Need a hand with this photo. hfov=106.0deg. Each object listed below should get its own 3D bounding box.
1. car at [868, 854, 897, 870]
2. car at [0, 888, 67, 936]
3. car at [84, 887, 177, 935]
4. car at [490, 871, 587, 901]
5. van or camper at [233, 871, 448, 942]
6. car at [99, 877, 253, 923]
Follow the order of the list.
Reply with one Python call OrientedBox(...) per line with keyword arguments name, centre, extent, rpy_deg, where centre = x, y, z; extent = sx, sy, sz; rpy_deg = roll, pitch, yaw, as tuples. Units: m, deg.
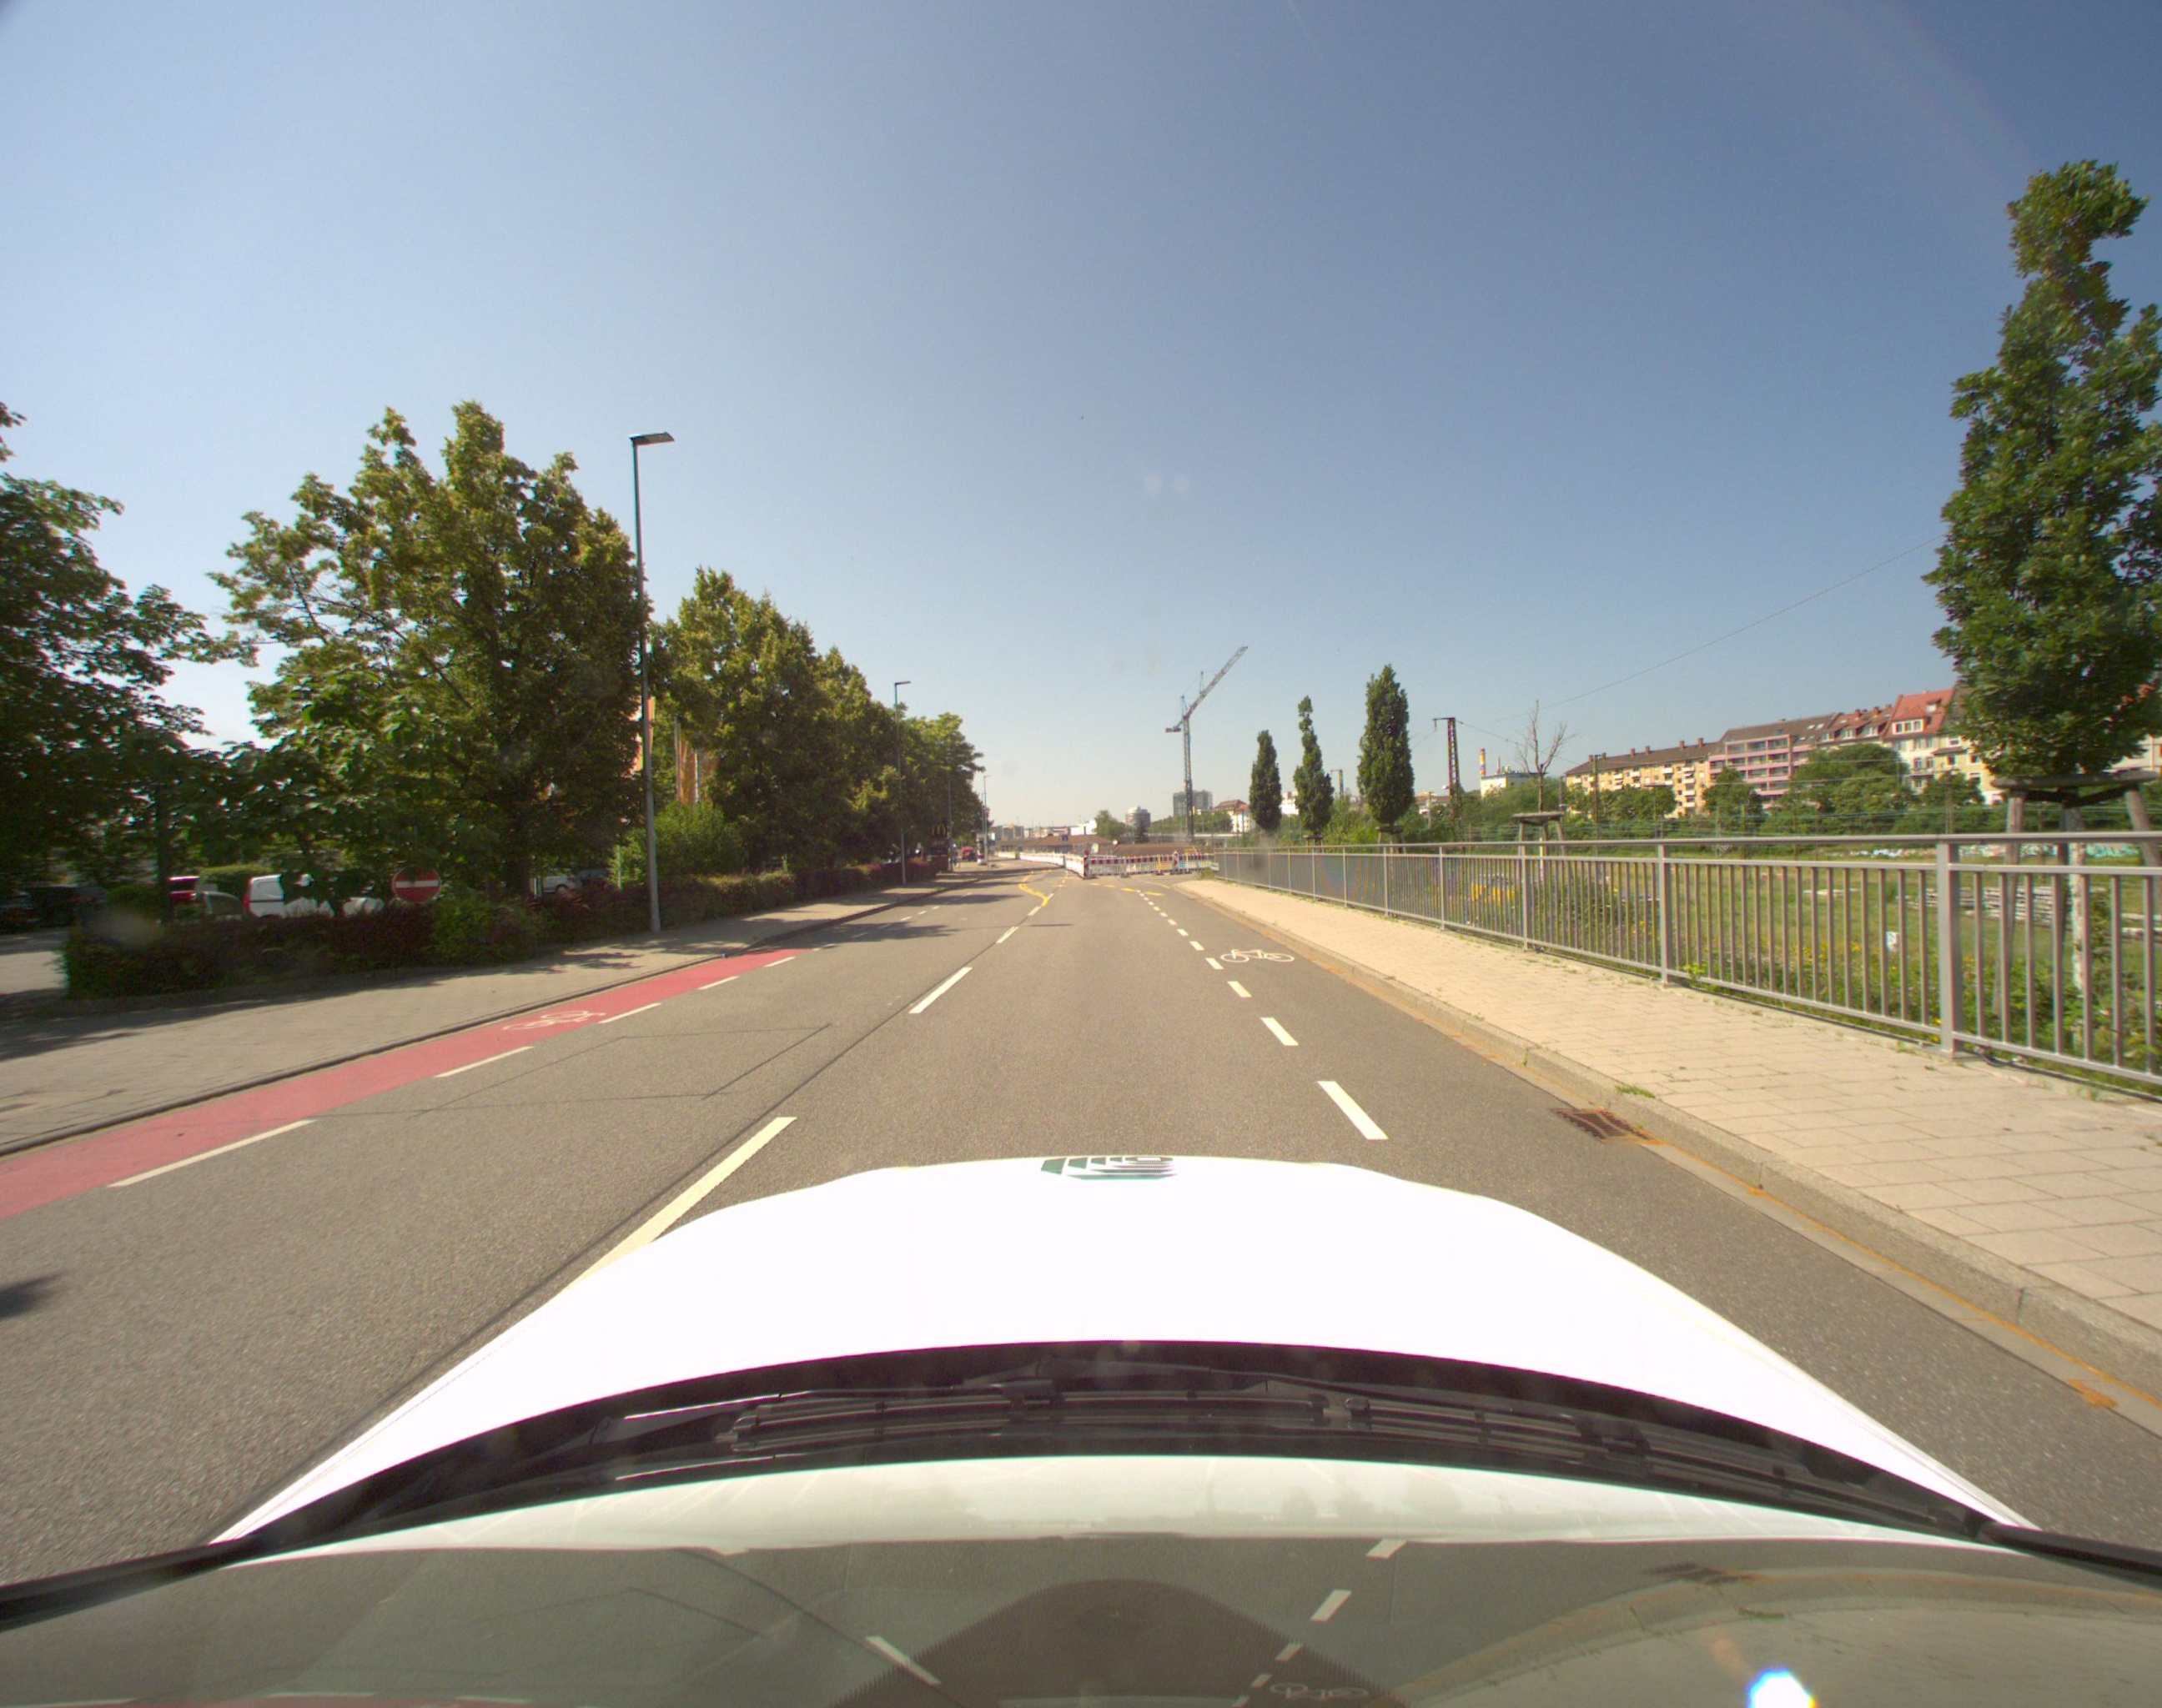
OrientedBox(name="car", centre=(-25.400, 1.004, 104.055), extent=(2.010, 1.903, 3.953), rpy_deg=(-2, 0, -40))
OrientedBox(name="car", centre=(-39.976, 2.188, 29.349), extent=(3.989, 1.598, 1.792), rpy_deg=(-3, 1, -11))
OrientedBox(name="car", centre=(-33.782, 2.014, 28.935), extent=(3.389, 1.526, 1.511), rpy_deg=(-2, 1, 30))
OrientedBox(name="car", centre=(-31.917, 1.832, 48.018), extent=(4.280, 1.438, 1.989), rpy_deg=(-3, 1, -17))
OrientedBox(name="van or camper", centre=(-22.127, 1.513, 24.564), extent=(4.280, 1.740, 1.989), rpy_deg=(-3, 1, -17))
OrientedBox(name="car", centre=(-38.182, 1.904, 34.470), extent=(3.989, 1.598, 1.792), rpy_deg=(-3, 1, -11))
